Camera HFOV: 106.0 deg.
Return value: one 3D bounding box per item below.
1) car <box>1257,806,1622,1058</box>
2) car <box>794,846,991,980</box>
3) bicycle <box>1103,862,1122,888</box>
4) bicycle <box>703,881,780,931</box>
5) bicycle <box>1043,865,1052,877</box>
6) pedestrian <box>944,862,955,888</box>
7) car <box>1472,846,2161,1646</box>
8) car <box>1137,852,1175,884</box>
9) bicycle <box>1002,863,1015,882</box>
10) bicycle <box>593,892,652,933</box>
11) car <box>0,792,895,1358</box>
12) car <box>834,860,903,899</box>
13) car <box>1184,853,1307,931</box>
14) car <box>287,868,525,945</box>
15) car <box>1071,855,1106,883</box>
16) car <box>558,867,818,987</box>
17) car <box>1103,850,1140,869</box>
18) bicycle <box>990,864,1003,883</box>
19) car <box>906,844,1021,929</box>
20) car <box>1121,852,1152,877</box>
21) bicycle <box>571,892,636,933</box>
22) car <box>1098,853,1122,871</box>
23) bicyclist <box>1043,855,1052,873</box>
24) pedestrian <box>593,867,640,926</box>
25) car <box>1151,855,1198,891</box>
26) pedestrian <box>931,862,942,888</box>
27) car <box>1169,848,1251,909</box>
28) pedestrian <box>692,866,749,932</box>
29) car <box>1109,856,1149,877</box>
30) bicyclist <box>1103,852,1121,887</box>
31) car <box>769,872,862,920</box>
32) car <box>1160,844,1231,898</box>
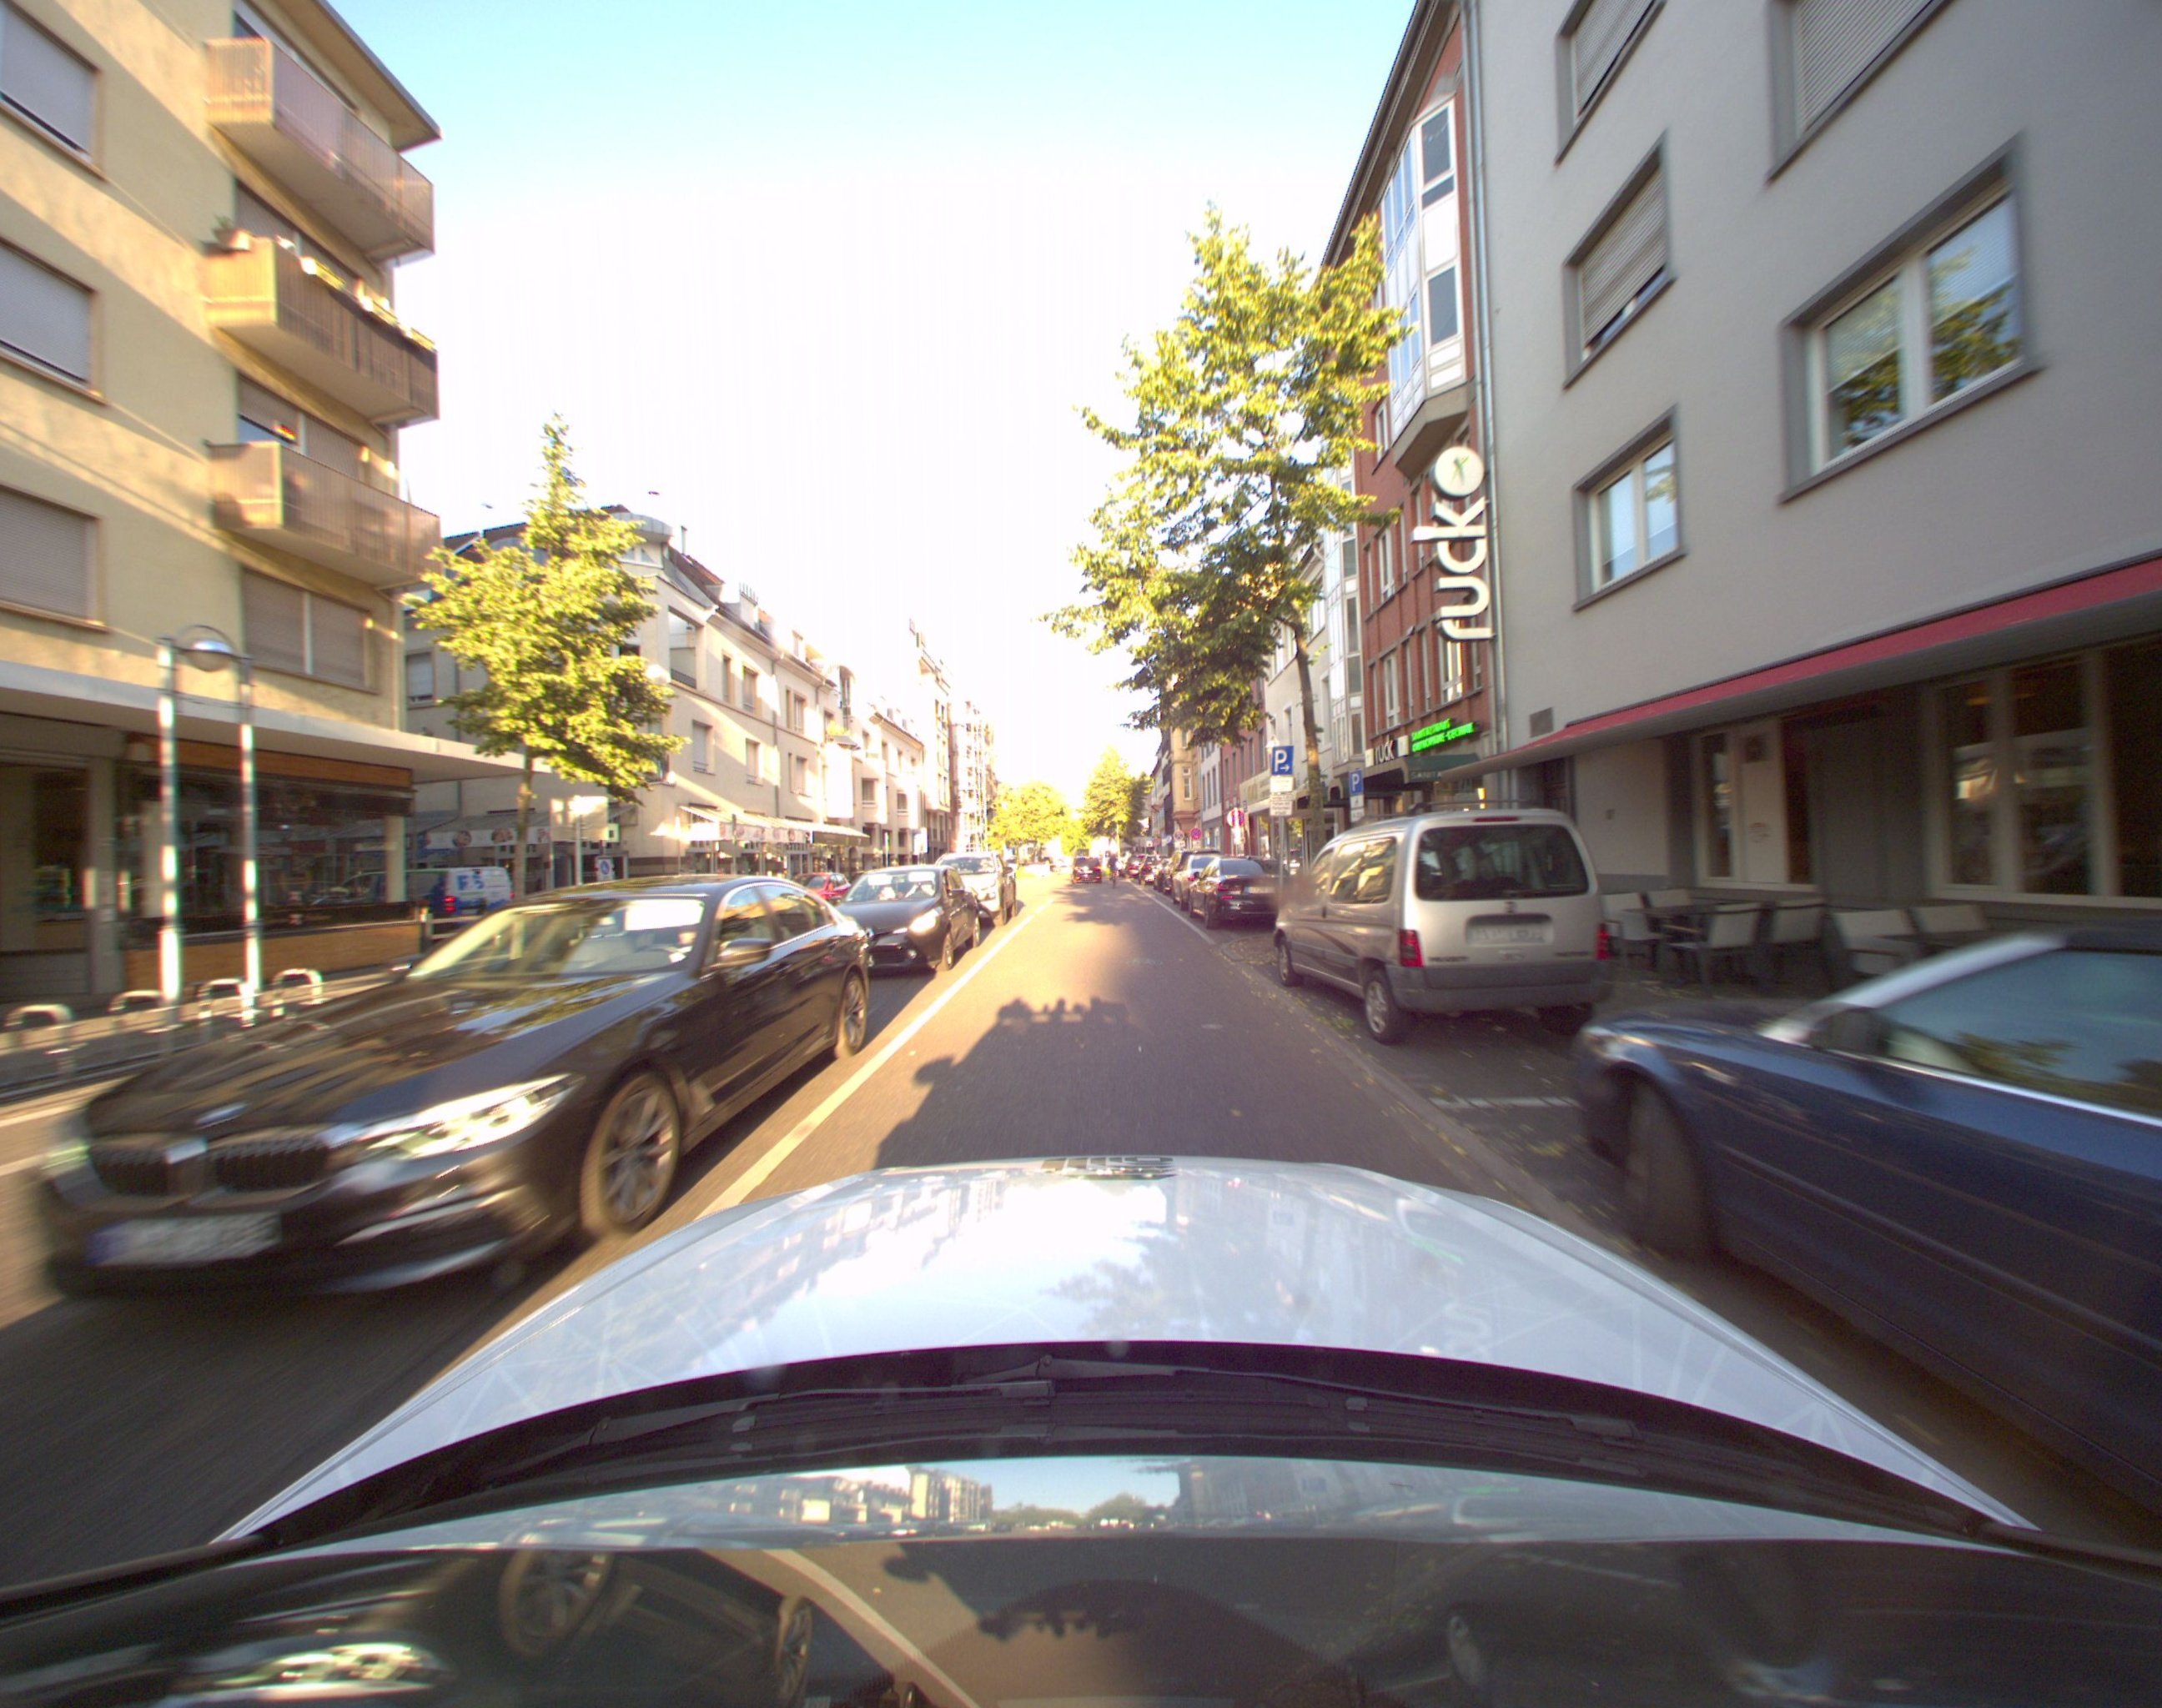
[{"bbox_3d":[3.017,0.549,7.859,1.650,1.778,4.009,-1,0,-2],"label":"car"},{"bbox_3d":[-2.564,0.756,12.234,1.717,1.549,4.466,-3,-1,2],"label":"car"},{"bbox_3d":[1.574,1.043,40.850,0.778,1.204,2.019,-3,-1,-1],"label":"bicycle"},{"bbox_3d":[-9.863,1.459,23.822,0.955,1.300,3.126,-1,-1,-1],"label":"bicycle"},{"bbox_3d":[-3.442,1.739,83.975,0.778,1.204,2.019,-3,-1,-1],"label":"bicycle"},{"bbox_3d":[-8.937,1.425,55.339,0.716,1.740,0.737,-1,-1,-7],"label":"pedestrian"},{"bbox_3d":[2.827,0.681,1.793,1.931,1.376,4.181,0,0,0],"label":"car"},{"bbox_3d":[4.062,0.768,44.822,1.805,1.668,4.207,-1,-1,2],"label":"car"},{"bbox_3d":[-5.625,1.412,62.907,0.844,1.351,3.179,-2,-1,-7],"label":"bicycle"},{"bbox_3d":[-12.341,1.561,21.985,0.488,0.992,2.015,-1,-1,-1],"label":"bicycle"},{"bbox_3d":[-2.702,0.719,4.794,1.939,1.645,4.617,-3,-1,2],"label":"car"},{"bbox_3d":[-8.492,0.995,32.853,1.705,1.454,3.726,-1,-1,1],"label":"car"},{"bbox_3d":[3.330,0.698,17.347,1.747,1.420,4.509,-1,0,0],"label":"car"},{"bbox_3d":[-17.031,1.298,20.646,4.833,1.828,2.006,-1,-1,11],"label":"car"},{"bbox_3d":[0.417,0.916,49.928,1.988,1.602,4.507,-1,-1,-1],"label":"car"},{"bbox_3d":[-6.231,1.059,13.665,1.986,1.511,4.510,-5,-1,1],"label":"car"},{"bbox_3d":[4.594,0.617,91.575,3.968,2.013,2.003,-2,0,5],"label":"car"},{"bbox_3d":[-6.514,1.468,62.779,0.892,1.395,3.158,-2,-1,-7],"label":"bicycle"},{"bbox_3d":[-2.583,0.712,19.074,1.934,1.645,4.737,-3,-1,0],"label":"car"},{"bbox_3d":[3.908,0.784,58.025,1.820,1.695,4.365,-1,-1,-2],"label":"car"},{"bbox_3d":[-12.888,1.568,22.048,0.488,0.992,2.017,-1,-1,3],"label":"bicycle"},{"bbox_3d":[3.250,0.897,91.289,2.259,1.766,4.505,4,-1,-2],"label":"car"},{"bbox_3d":[-3.474,1.000,84.094,0.778,1.829,1.006,-3,-1,-1],"label":"bicyclist"},{"bbox_3d":[-13.526,1.234,23.738,0.897,1.676,0.782,-1,-1,15],"label":"pedestrian"},{"bbox_3d":[4.147,0.837,36.707,1.755,1.484,4.308,-1,-1,2],"label":"car"},{"bbox_3d":[-9.812,1.406,55.267,0.716,1.767,0.692,-1,-1,-7],"label":"pedestrian"},{"bbox_3d":[3.559,0.657,23.311,1.804,1.527,4.997,-1,-1,3],"label":"car"},{"bbox_3d":[-9.744,1.189,22.042,0.896,1.676,0.999,-1,2,23],"label":"pedestrian"},{"bbox_3d":[3.716,0.987,63.807,2.962,1.536,1.432,-1,-1,-3],"label":"car"},{"bbox_3d":[1.542,0.793,40.848,0.778,1.696,1.006,-3,-1,-1],"label":"bicyclist"},{"bbox_3d":[-8.460,1.292,26.267,1.655,1.403,3.884,-1,-1,1],"label":"car"},{"bbox_3d":[4.082,0.607,29.772,1.877,1.754,5.058,-1,-1,0],"label":"car"}]
